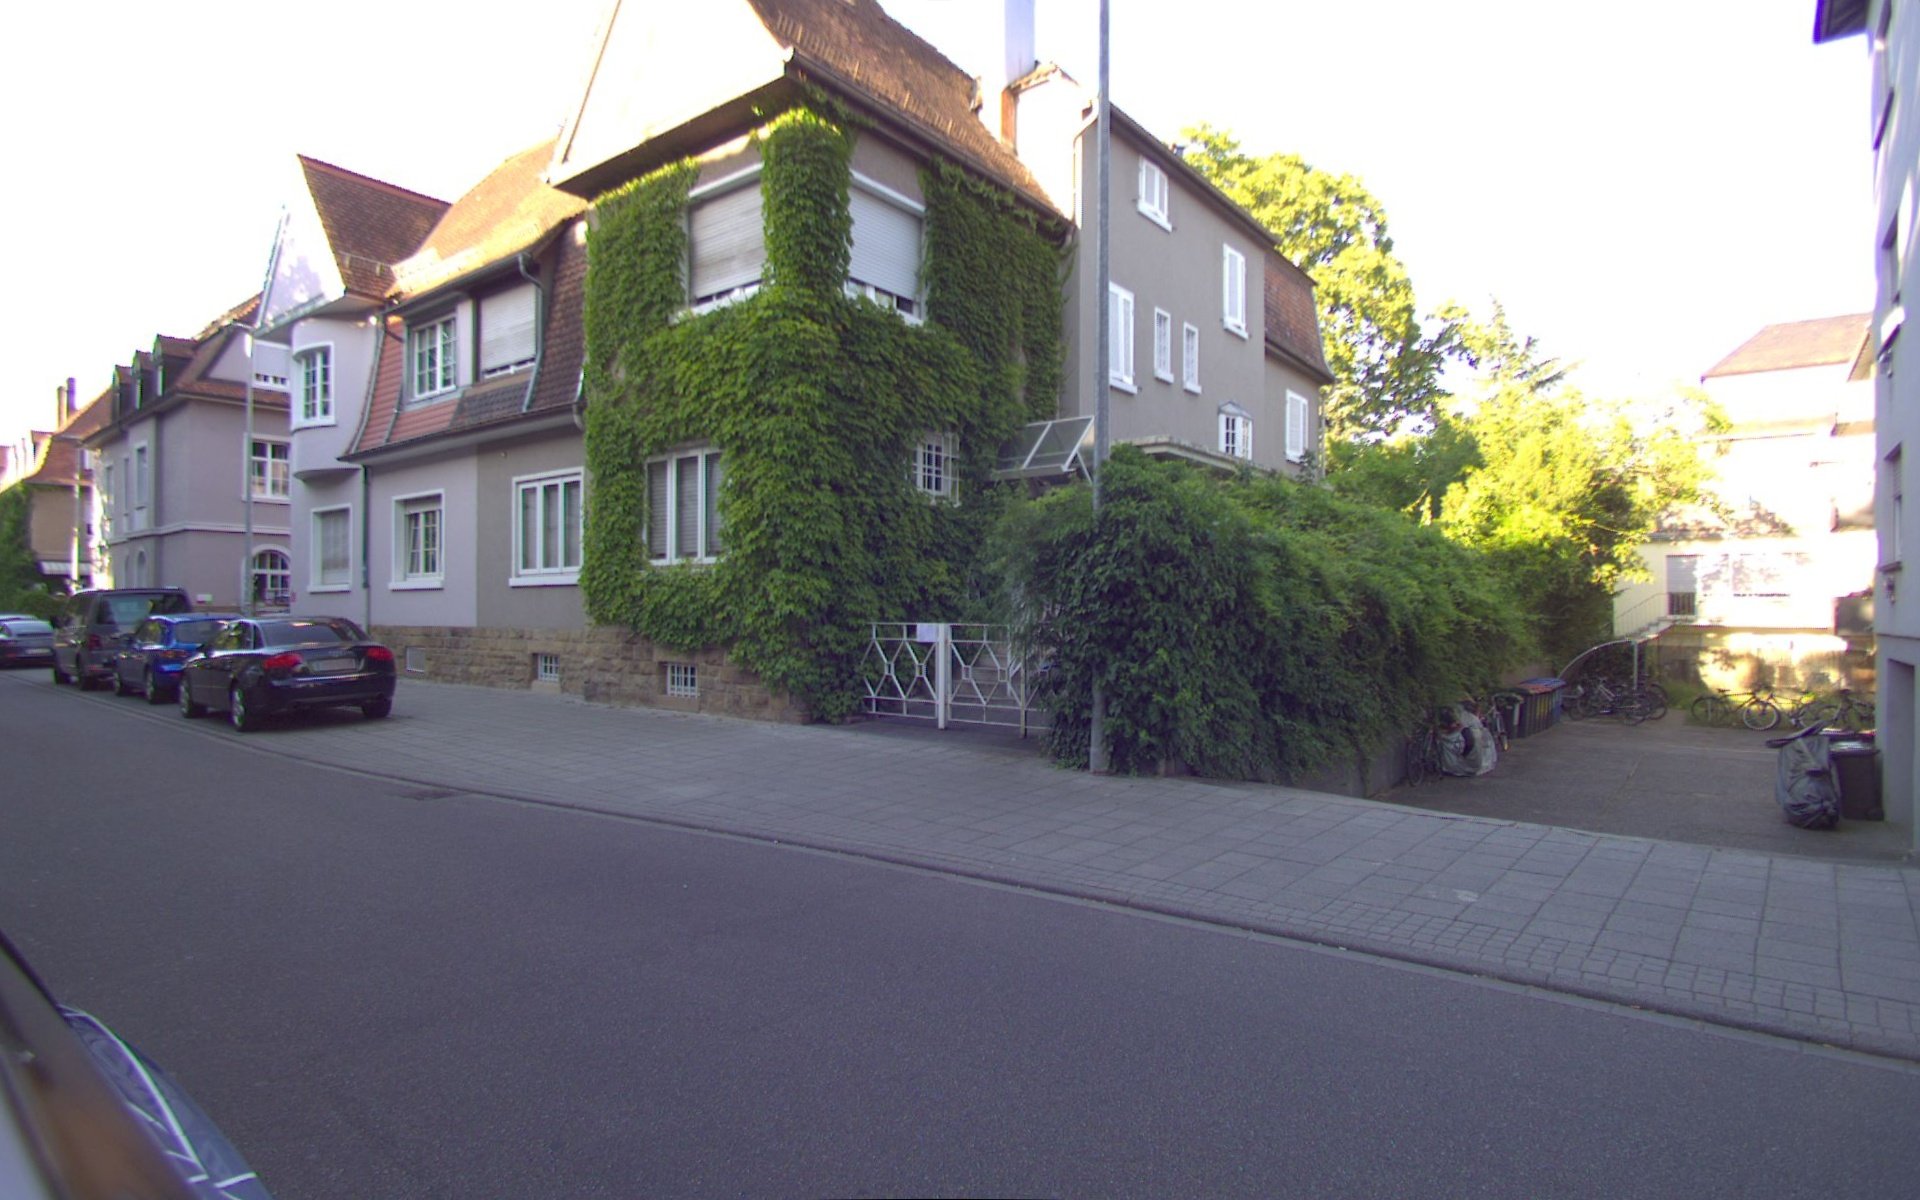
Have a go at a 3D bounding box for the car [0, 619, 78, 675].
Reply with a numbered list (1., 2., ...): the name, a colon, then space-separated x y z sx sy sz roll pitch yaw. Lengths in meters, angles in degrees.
1. car: -26.162 1.262 28.297 4.063 1.394 1.906 -1 1 44

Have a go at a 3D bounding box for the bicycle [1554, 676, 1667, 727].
1. bicycle: 16.238 2.508 25.302 2.294 1.142 0.685 -1 -4 42

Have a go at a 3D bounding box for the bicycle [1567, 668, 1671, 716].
1. bicycle: 18.056 2.490 27.768 2.338 1.186 0.685 -1 -4 42

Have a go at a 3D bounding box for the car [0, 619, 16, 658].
1. car: -36.327 1.437 37.508 3.676 1.372 1.641 -1 1 42

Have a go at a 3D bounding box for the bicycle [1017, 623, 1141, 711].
1. bicycle: 1.699 0.900 14.186 0.476 1.111 2.172 -1 -1 45

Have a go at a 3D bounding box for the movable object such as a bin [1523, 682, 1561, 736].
1. movable object such as a bin: 12.700 2.366 22.074 0.611 1.123 0.792 -1 -4 37

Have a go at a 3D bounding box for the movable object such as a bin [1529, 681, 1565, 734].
1. movable object such as a bin: 13.176 2.402 22.716 0.611 1.123 0.792 -1 -4 37

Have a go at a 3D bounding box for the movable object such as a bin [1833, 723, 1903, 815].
1. movable object such as a bin: 12.296 2.263 13.728 0.611 1.123 0.792 -1 -4 37

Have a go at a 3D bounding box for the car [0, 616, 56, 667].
1. car: -30.175 1.292 32.030 4.061 1.478 1.907 -1 1 42

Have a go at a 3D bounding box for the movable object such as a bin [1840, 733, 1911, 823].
1. movable object such as a bin: 11.714 2.259 12.966 0.611 1.045 0.532 -1 -4 37

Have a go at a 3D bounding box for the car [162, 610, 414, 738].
1. car: -9.432 0.904 14.059 4.426 1.457 1.783 -1 1 41

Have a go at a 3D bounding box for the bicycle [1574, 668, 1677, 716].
1. bicycle: 18.614 2.553 28.335 2.338 1.186 0.685 -1 -4 42

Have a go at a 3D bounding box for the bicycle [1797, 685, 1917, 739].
1. bicycle: 20.368 2.525 23.026 2.005 1.080 0.558 -1 -4 42

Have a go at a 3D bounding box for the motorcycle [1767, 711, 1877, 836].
1. motorcycle: 10.705 2.104 12.625 0.742 1.305 1.565 -1 -2 30

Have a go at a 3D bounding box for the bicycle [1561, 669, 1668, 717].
1. bicycle: 17.504 2.463 27.115 2.338 1.142 0.685 -1 -4 42

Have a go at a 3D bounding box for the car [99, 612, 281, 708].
1. car: -13.639 0.975 17.845 4.060 1.457 1.745 -1 1 41

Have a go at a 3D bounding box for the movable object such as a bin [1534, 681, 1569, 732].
1. movable object such as a bin: 13.646 2.435 23.348 0.611 1.123 0.792 -1 -4 37

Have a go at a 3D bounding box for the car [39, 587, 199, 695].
1. car: -17.528 0.782 21.015 4.610 1.990 1.819 -1 1 41

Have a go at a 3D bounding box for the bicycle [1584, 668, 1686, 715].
1. bicycle: 19.198 2.585 28.830 2.338 1.186 0.685 -1 -4 42

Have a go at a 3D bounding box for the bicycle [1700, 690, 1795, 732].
1. bicycle: 18.891 2.650 24.301 1.754 0.886 0.558 -1 -4 42

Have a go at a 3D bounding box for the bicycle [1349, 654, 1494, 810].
1. bicycle: 6.822 1.773 14.753 0.971 1.907 4.138 -1 -3 38
